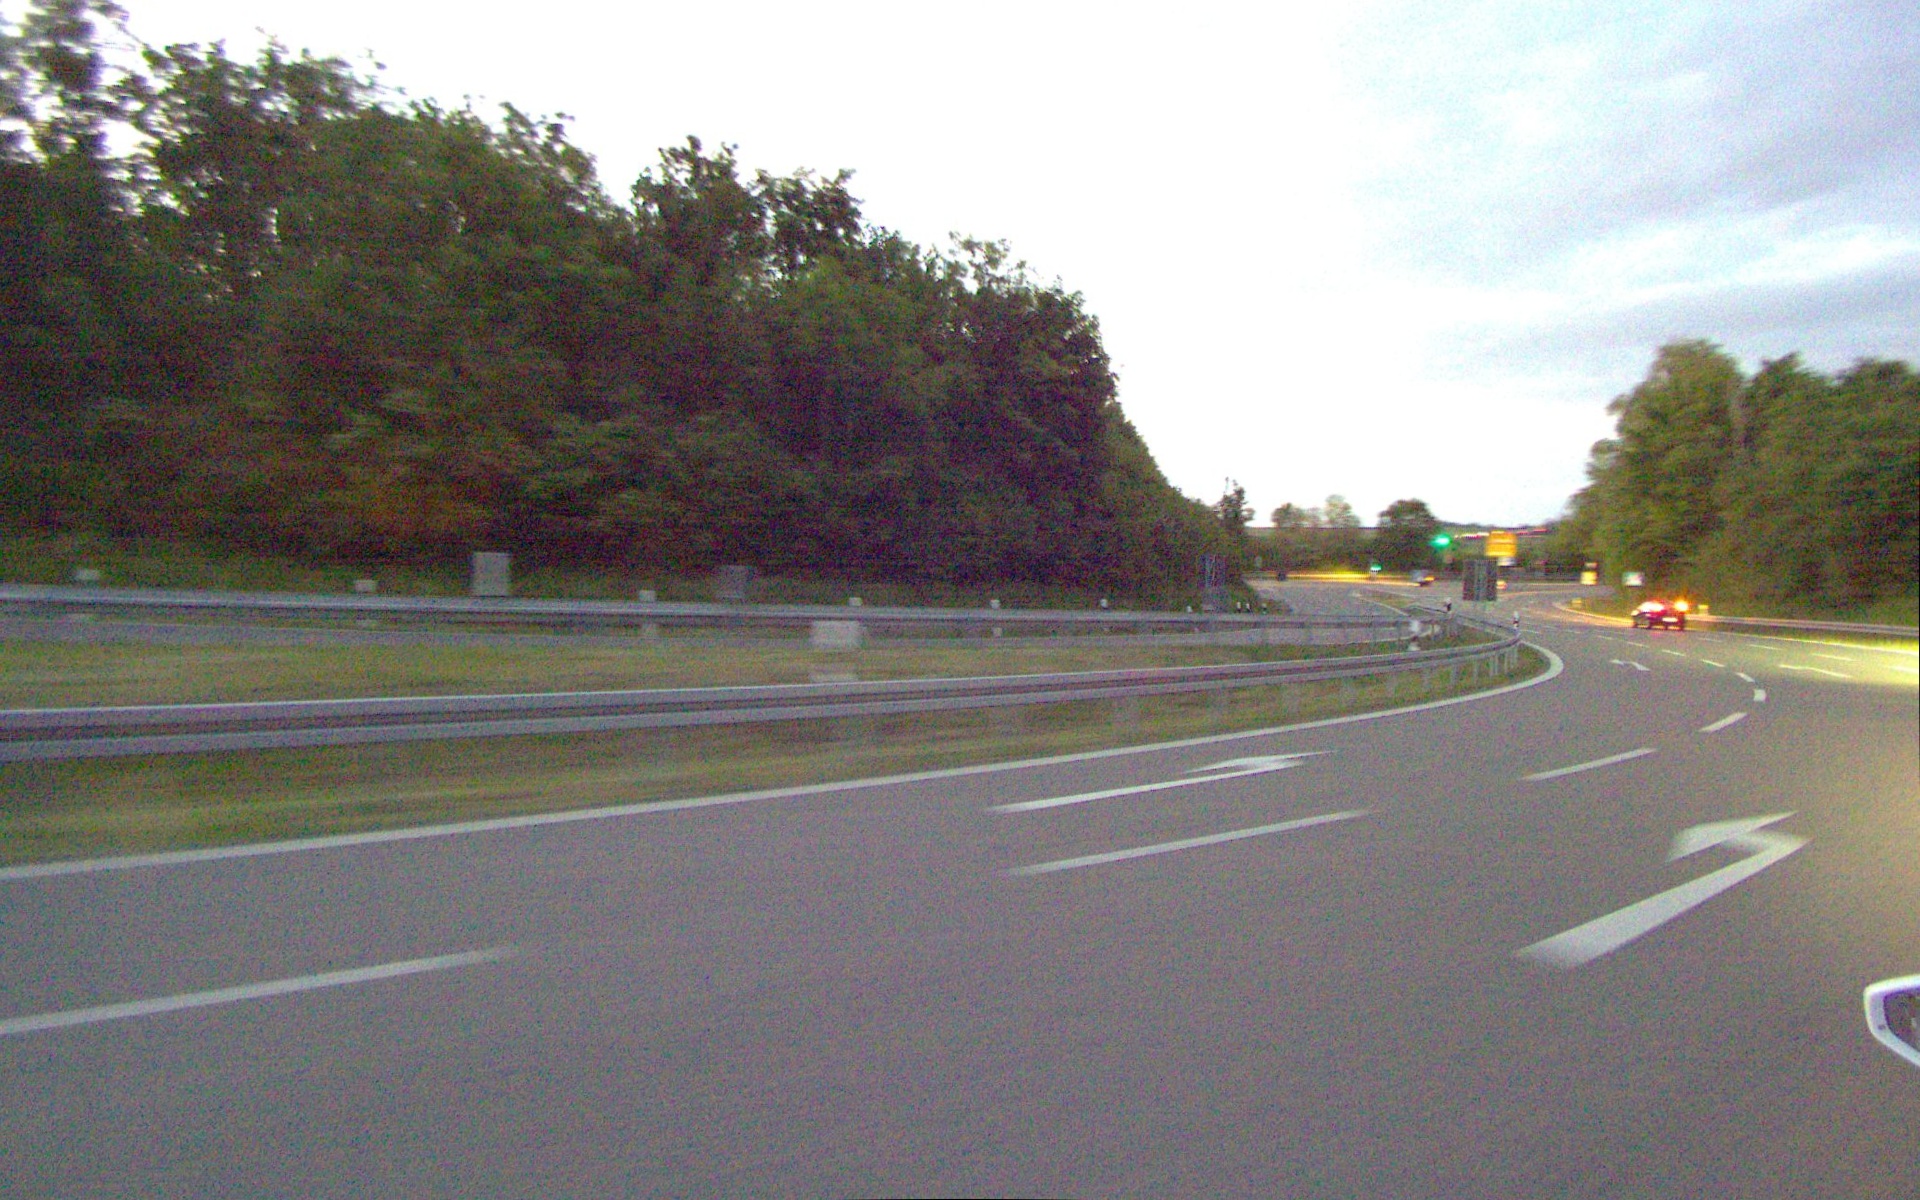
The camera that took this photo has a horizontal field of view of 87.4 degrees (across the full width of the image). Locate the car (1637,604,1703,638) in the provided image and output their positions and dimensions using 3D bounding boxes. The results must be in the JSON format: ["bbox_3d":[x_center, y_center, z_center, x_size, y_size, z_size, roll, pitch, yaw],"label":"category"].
[{"bbox_3d":[37.478,1.104,53.118,1.751,1.675,4.001,2,0,19],"label":"car"}]
